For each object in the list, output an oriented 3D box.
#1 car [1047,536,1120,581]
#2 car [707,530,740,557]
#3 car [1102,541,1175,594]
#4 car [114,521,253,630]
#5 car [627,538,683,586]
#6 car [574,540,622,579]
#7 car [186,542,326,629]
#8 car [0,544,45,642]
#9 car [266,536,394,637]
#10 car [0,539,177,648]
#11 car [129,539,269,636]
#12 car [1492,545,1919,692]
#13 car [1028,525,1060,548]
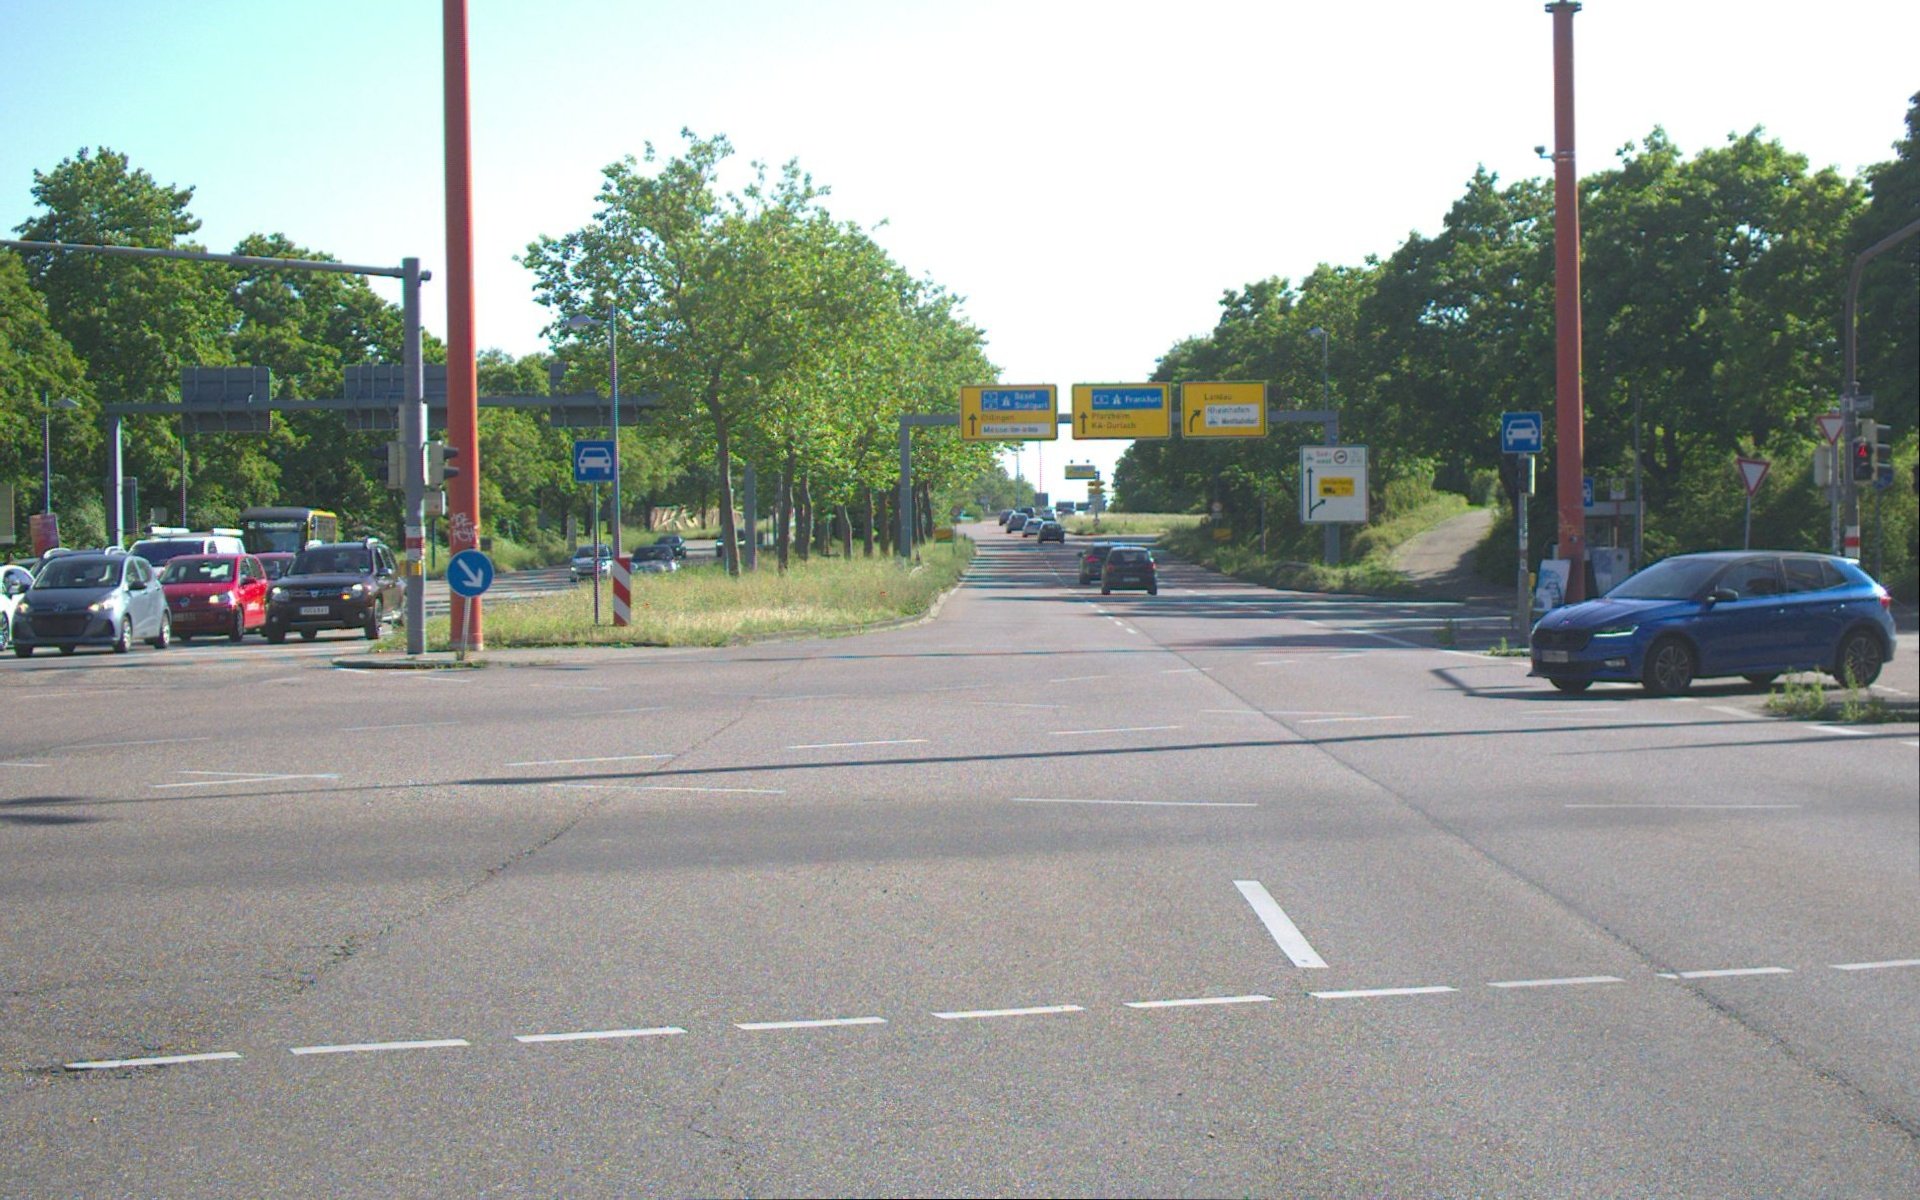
[{"bbox_3d":[4.450,-1.523,124.696,2.158,1.568,4.583,-1,1,-4],"label":"car"},{"bbox_3d":[-14.386,-3.426,208.977,1.876,1.568,4.121,-1,1,-5],"label":"car"},{"bbox_3d":[5.420,-1.001,104.629,2.159,1.568,4.281,-1,1,2],"label":"car"},{"bbox_3d":[-16.112,-0.529,71.520,2.062,2.185,4.379,-1,1,-2],"label":"car"},{"bbox_3d":[-10.399,-1.309,117.339,1.876,1.568,4.121,-1,1,-5],"label":"car"},{"bbox_3d":[-15.017,-1.699,142.675,1.876,1.568,4.121,-1,1,-5],"label":"car"},{"bbox_3d":[-13.114,-0.297,64.258,1.993,1.568,4.121,-1,1,-4],"label":"car"},{"bbox_3d":[-16.487,-0.119,57.047,1.993,1.568,4.122,-2,1,-8],"label":"car"},{"bbox_3d":[-10.246,-0.246,56.159,1.876,1.568,4.122,-1,1,-8],"label":"car"},{"bbox_3d":[-13.251,-0.133,52.178,1.993,1.568,4.121,-1,1,-3],"label":"car"},{"bbox_3d":[-12.897,-0.237,58.479,1.993,1.568,4.122,-1,1,-8],"label":"car"},{"bbox_3d":[7.884,0.156,36.104,4.266,1.423,1.884,-1,1,-29],"label":"car"},{"bbox_3d":[5.877,-4.415,240.126,2.159,1.568,4.281,-1,1,1],"label":"car"}]
